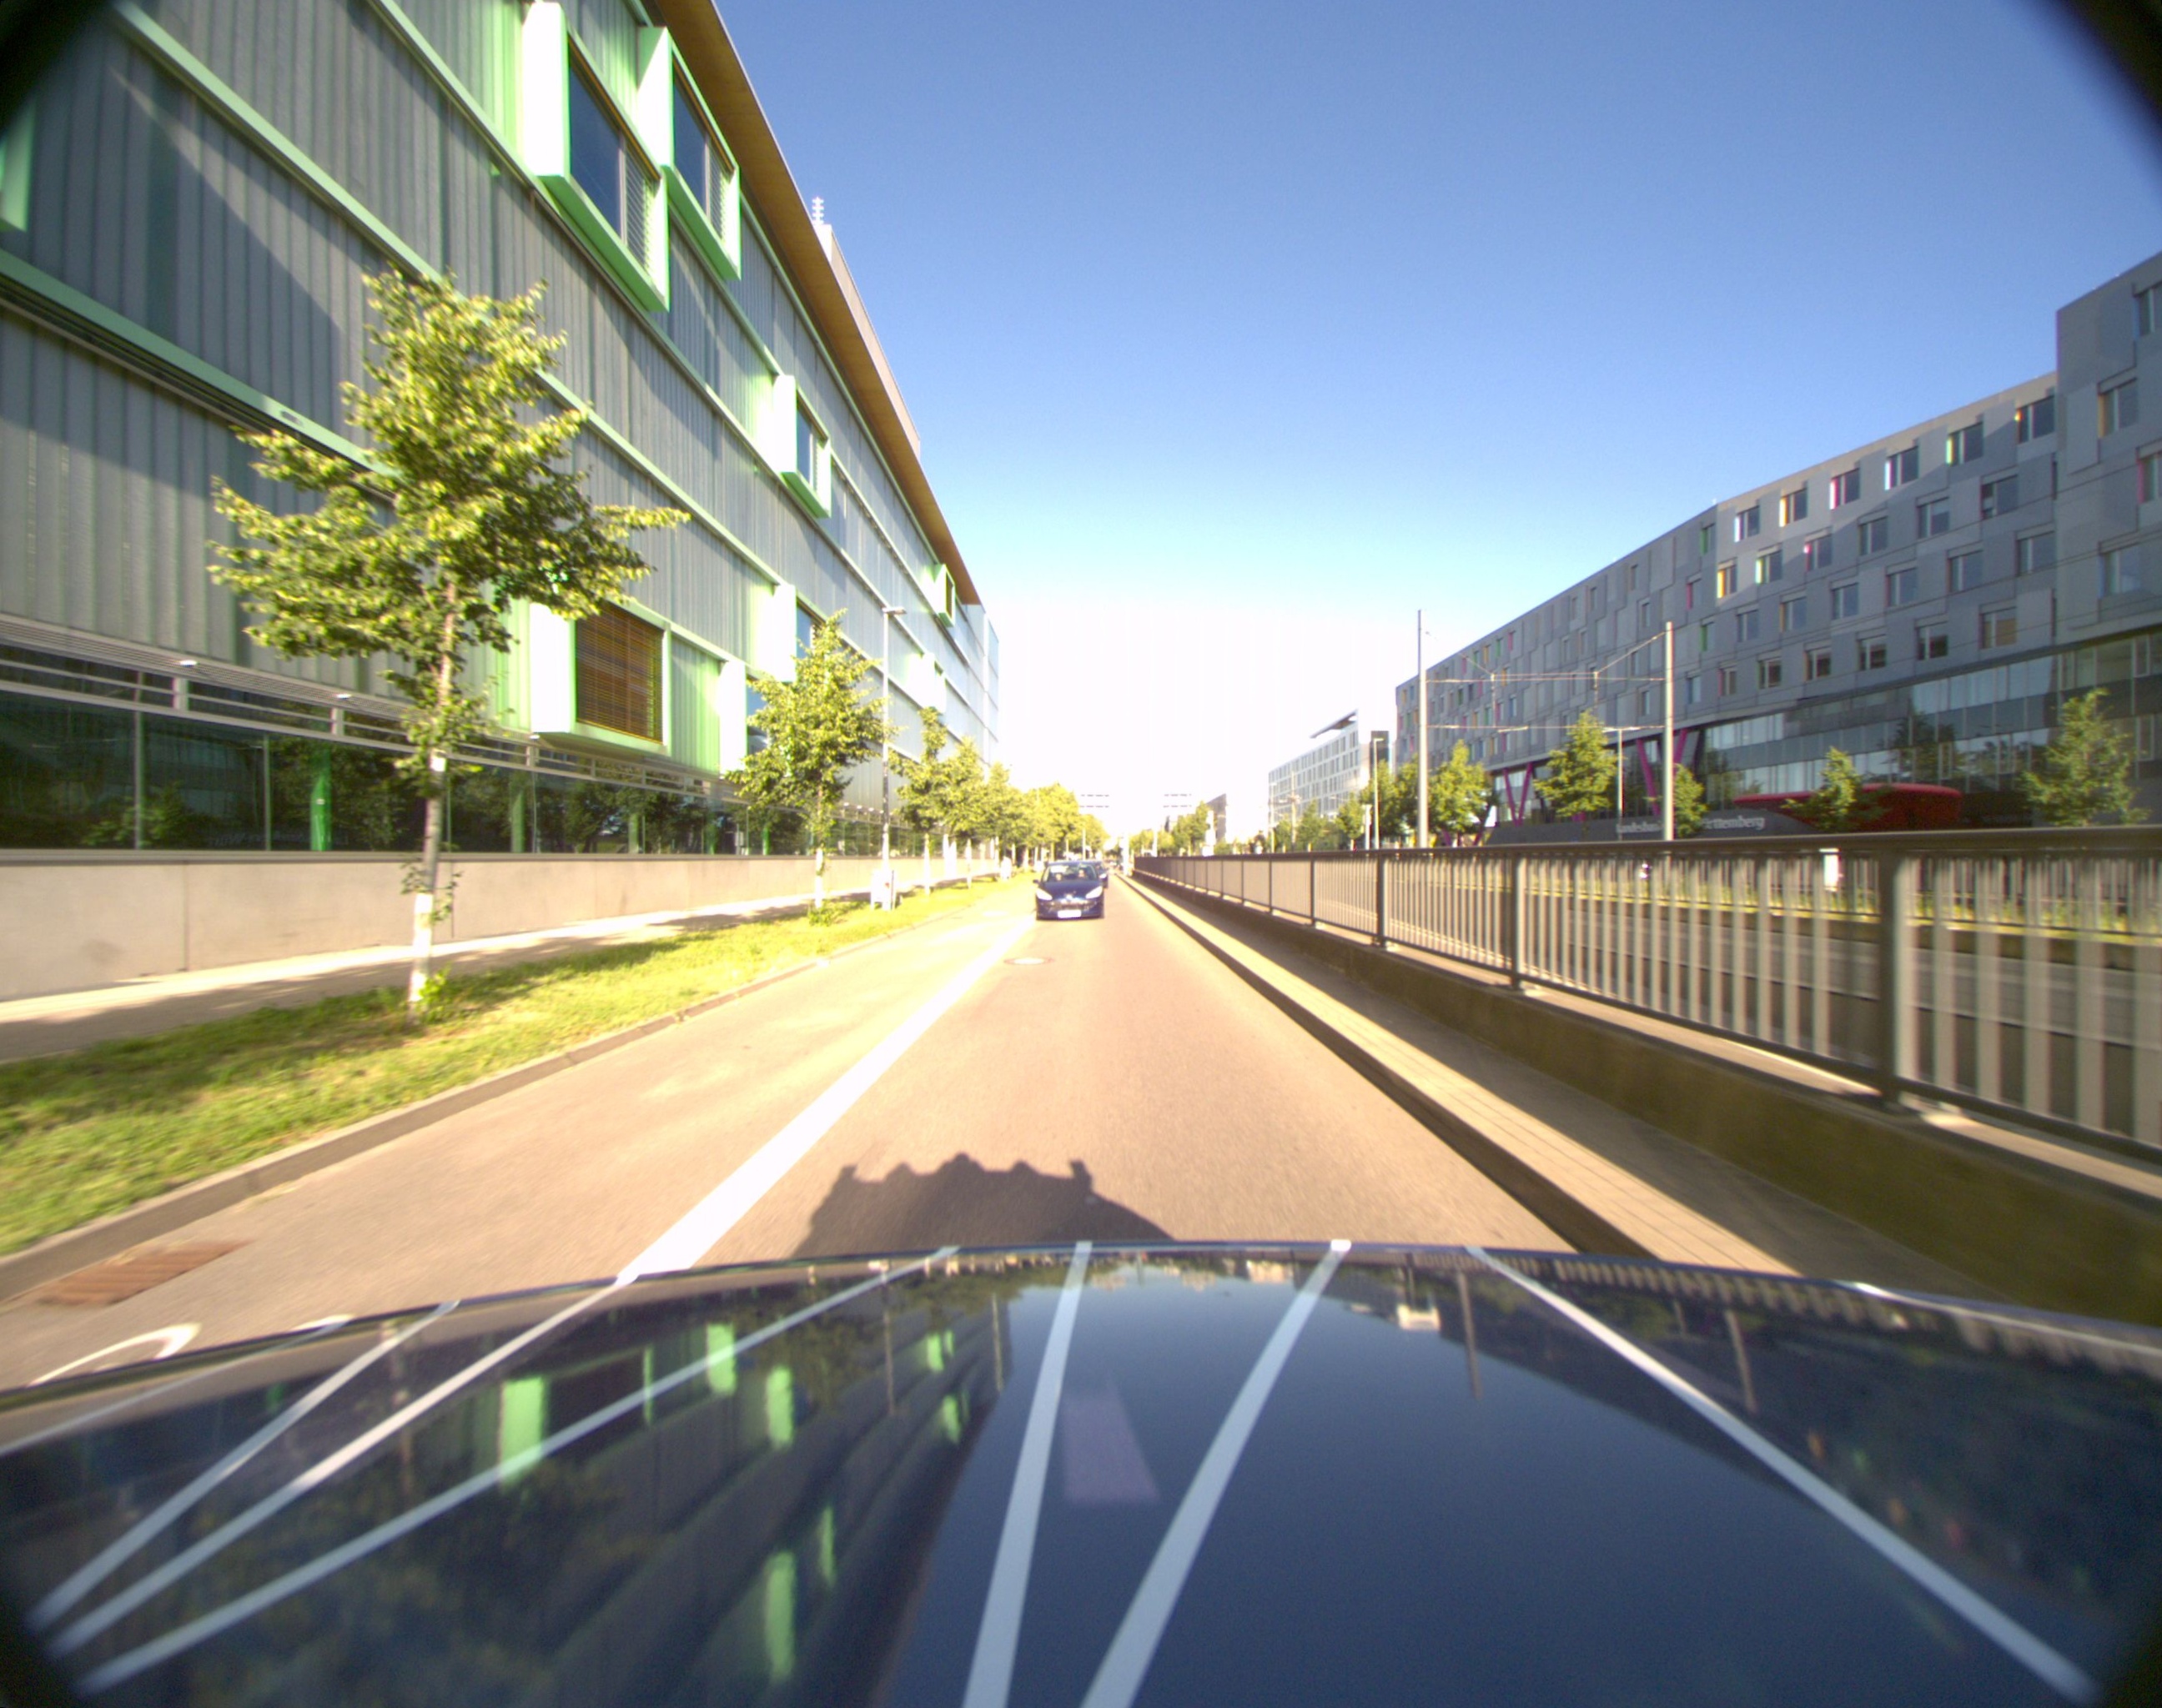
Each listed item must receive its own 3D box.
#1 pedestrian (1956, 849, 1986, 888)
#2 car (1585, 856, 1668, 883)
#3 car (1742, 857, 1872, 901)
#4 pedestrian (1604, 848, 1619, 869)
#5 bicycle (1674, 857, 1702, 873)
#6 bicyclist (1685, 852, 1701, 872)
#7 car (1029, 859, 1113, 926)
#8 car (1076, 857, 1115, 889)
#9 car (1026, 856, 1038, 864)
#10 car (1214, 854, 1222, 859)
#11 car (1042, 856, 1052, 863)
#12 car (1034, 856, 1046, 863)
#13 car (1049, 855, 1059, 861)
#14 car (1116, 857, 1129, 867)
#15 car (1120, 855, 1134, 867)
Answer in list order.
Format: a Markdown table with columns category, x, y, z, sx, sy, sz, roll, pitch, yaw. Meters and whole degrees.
| category | x | y | z | sx | sy | sz | roll | pitch | yaw |
| --- | --- | --- | --- | --- | --- | --- | --- | --- | --- |
| pedestrian | 46.467 | 0.750 | 39.667 | 0.738 | 2.002 | 0.689 | 0 | 1 | 2 |
| car | 32.955 | 0.921 | 46.085 | 1.802 | 1.518 | 4.720 | 1 | 0 | 3 |
| car | 32.309 | 1.065 | 33.985 | 1.998 | 1.828 | 4.000 | 1 | 0 | 1 |
| pedestrian | 46.185 | 0.382 | 66.132 | 0.722 | 1.811 | 0.871 | 0 | 0 | 2 |
| bicycle | 45.684 | 0.796 | 57.206 | 0.521 | 1.165 | 1.975 | 0 | 0 | 2 |
| bicyclist | 46.063 | 0.626 | 57.191 | 0.560 | 1.487 | 0.763 | 0 | 1 | 2 |
| car | -0.140 | 0.957 | 20.682 | 1.802 | 1.518 | 4.607 | -2 | 0 | 5 |
| car | 0.805 | 0.942 | 39.520 | 1.802 | 1.518 | 4.606 | -2 | 0 | 3 |
| car | -9.872 | 1.191 | 152.690 | 1.898 | 1.456 | 4.038 | -1 | 0 | 5 |
| car | 41.573 | 0.779 | 230.324 | 1.875 | 1.347 | 4.001 | -2 | 0 | 3 |
| car | -7.936 | 1.200 | 176.251 | 1.898 | 1.477 | 4.050 | -1 | 0 | 2 |
| car | -8.971 | 1.222 | 166.491 | 1.898 | 1.479 | 4.348 | -1 | 0 | 6 |
| car | -6.655 | 0.986 | 186.004 | 1.942 | 1.372 | 3.915 | -1 | 0 | 3 |
| car | 6.445 | 1.202 | 118.492 | 1.839 | 1.483 | 4.006 | -2 | 0 | 2 |
| car | 5.768 | 0.825 | 95.811 | 1.675 | 1.418 | 4.006 | -2 | 0 | 2 |
